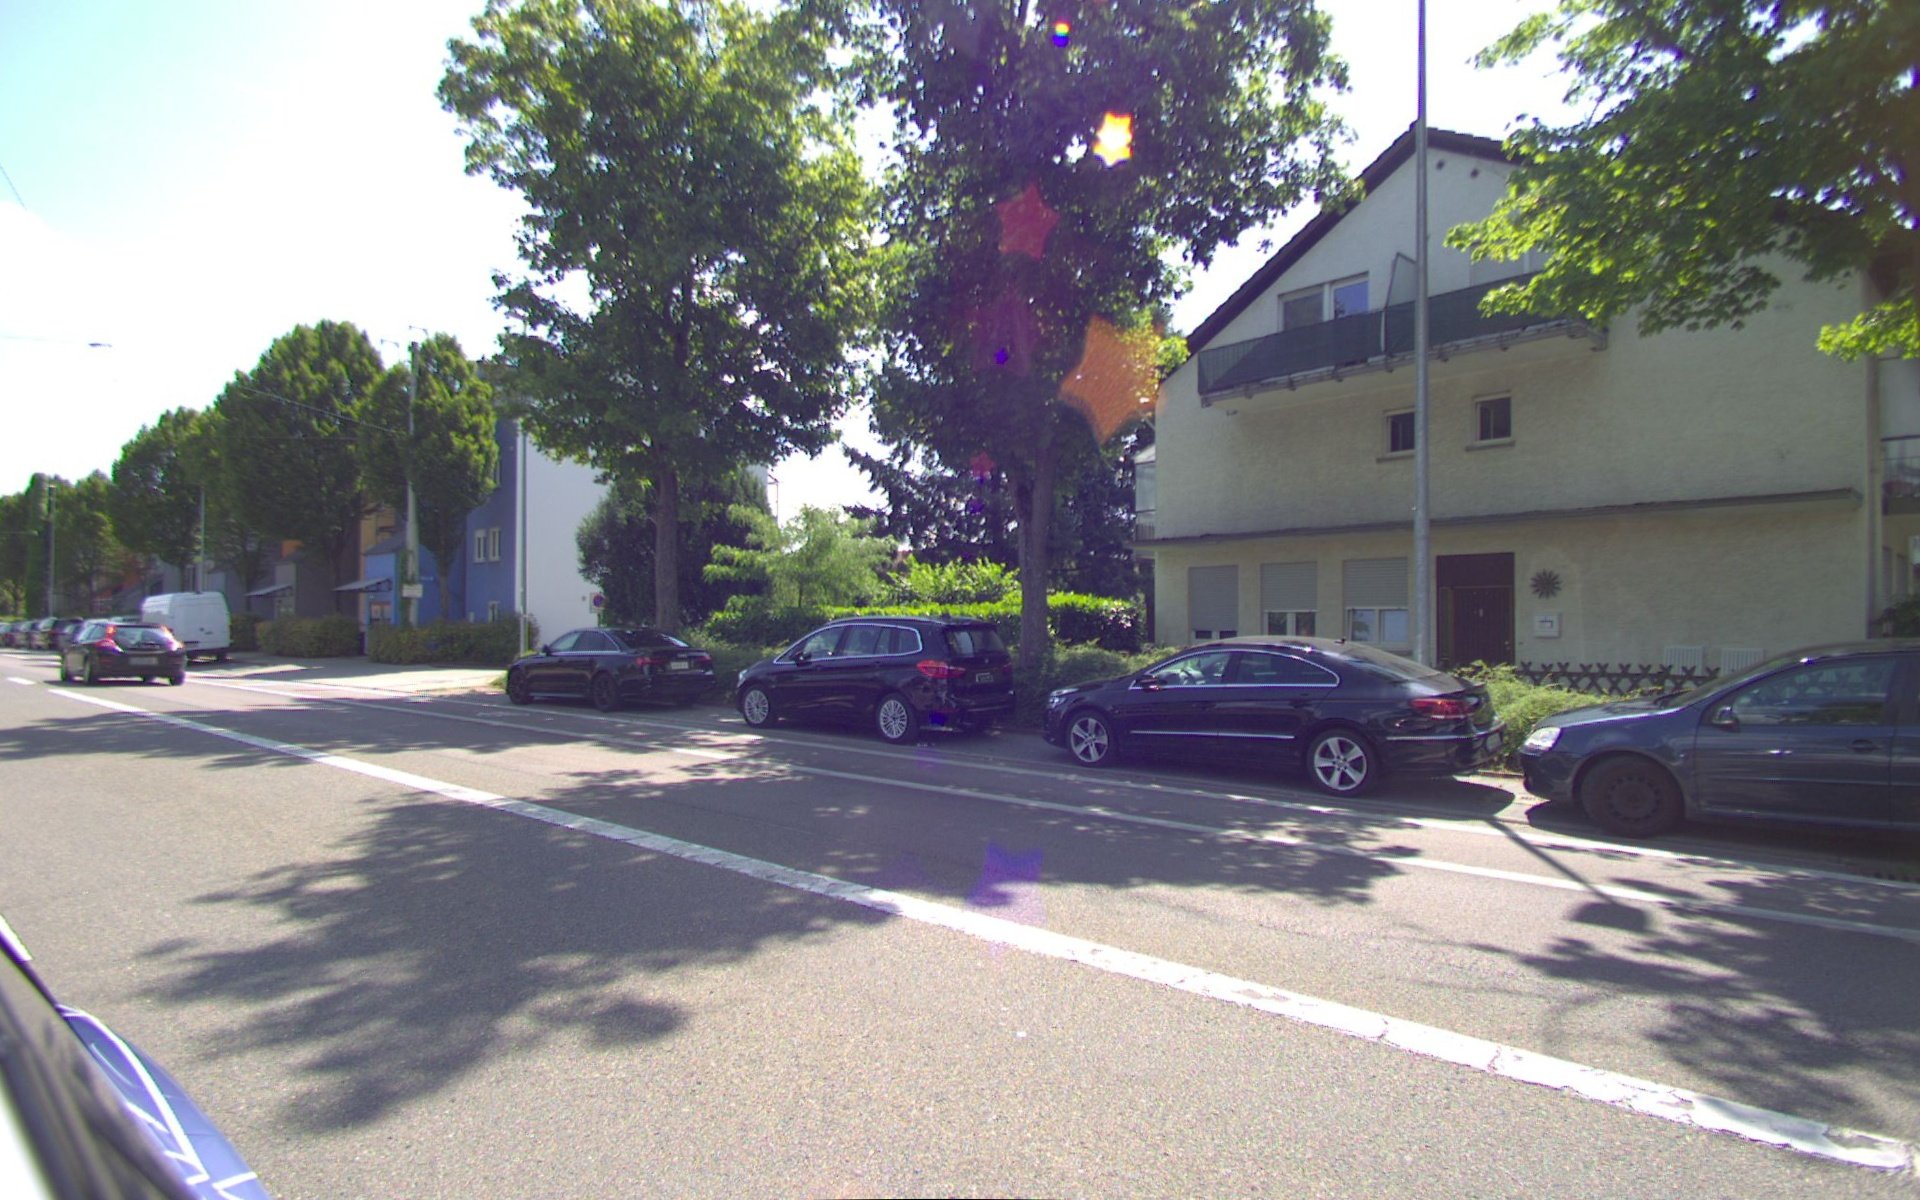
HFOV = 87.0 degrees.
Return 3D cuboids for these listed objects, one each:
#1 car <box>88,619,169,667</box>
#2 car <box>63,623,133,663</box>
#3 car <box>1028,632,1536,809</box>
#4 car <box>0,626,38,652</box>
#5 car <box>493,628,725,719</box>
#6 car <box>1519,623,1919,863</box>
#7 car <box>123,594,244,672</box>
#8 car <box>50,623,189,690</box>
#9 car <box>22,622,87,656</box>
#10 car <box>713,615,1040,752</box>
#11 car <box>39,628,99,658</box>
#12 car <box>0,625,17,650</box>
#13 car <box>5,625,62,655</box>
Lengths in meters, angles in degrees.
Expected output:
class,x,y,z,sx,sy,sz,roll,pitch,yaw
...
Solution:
class,x,y,z,sx,sy,sz,roll,pitch,yaw
car,-36.489,1.836,44.346,5.358,1.909,1.788,-1,0,40
car,-40.785,2.000,47.822,4.899,1.765,1.699,-1,-1,40
car,3.129,1.055,10.462,4.692,1.383,1.757,-1,0,39
car,-57.889,2.368,61.573,4.815,1.457,1.726,-1,-1,36
car,-6.528,1.242,18.549,4.799,1.467,1.757,-1,-2,39
car,6.511,0.935,7.327,4.045,1.492,1.756,-1,-1,41
car,-30.129,1.255,39.166,7.031,2.671,2.300,-2,1,41
car,-19.266,1.267,23.147,4.001,1.409,1.661,-1,-4,39
car,-48.789,2.105,54.511,4.880,1.729,1.734,-2,-3,38
car,-1.297,1.040,14.149,4.632,1.616,1.757,-1,-1,39
car,-45.442,2.165,51.608,4.082,1.482,1.583,-1,-2,38
car,-62.641,2.411,65.255,4.884,1.519,1.642,0,1,35
car,-53.036,2.274,57.913,4.278,1.630,1.640,-1,-2,37
